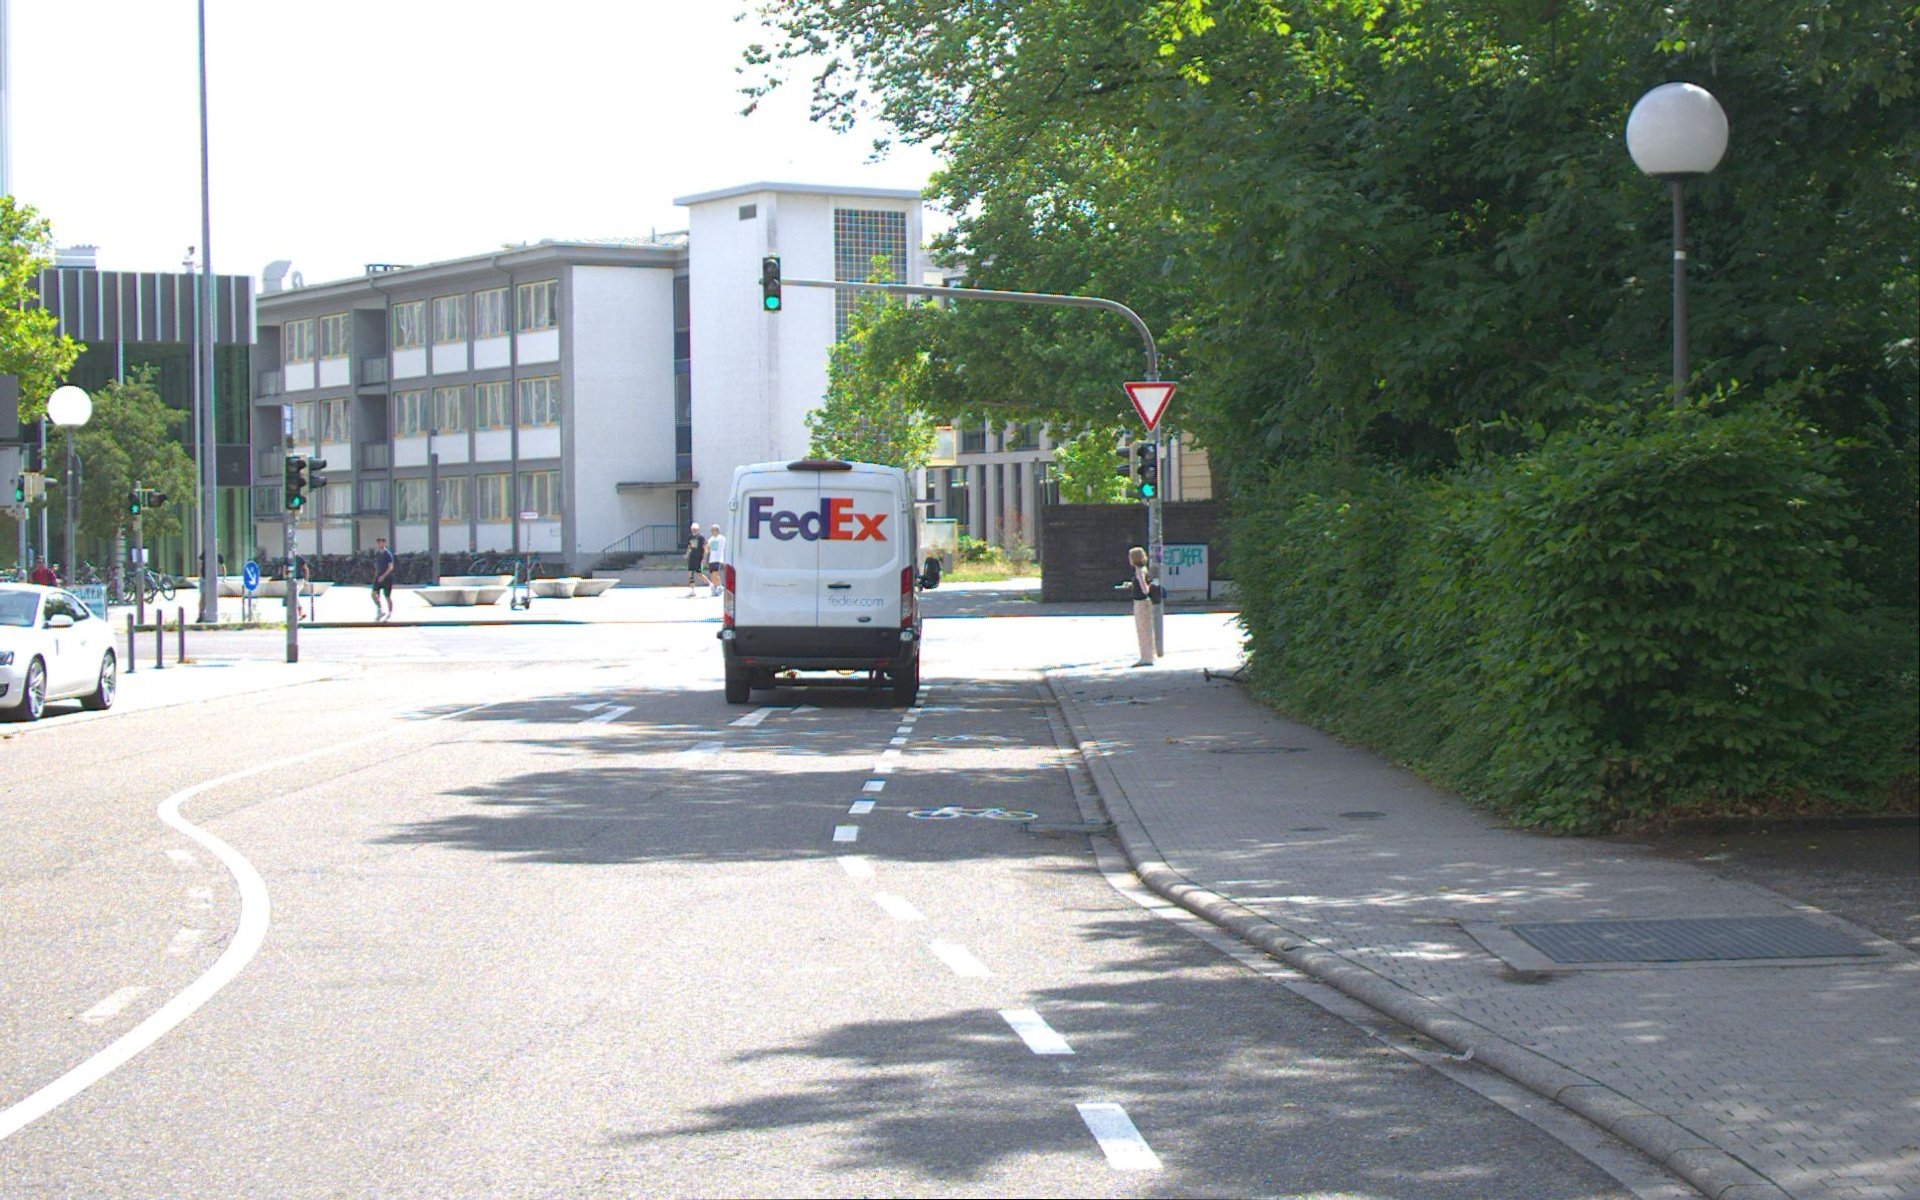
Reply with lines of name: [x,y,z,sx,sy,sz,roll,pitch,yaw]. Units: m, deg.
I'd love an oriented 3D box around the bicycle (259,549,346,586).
bicycle: [-24.317,-1.193,127.163,2.956,1.359,1.117,0,1,-37]

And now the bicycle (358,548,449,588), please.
bicycle: [-19.396,-1.107,119.786,2.956,1.359,1.117,0,1,-37]

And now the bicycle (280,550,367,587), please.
bicycle: [-23.191,-1.152,125.303,2.956,1.359,1.117,0,1,-37]

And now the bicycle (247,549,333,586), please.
bicycle: [-25.012,-1.209,128.353,2.956,1.359,1.117,0,1,-37]

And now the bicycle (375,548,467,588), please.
bicycle: [-18.612,-1.095,118.717,2.956,1.359,1.117,0,1,-37]

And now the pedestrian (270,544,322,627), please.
pedestrian: [-15.272,-0.334,79.101,0.703,1.849,1.398,-1,2,10]

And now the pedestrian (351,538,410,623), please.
pedestrian: [-12.981,-0.443,77.022,0.830,1.864,1.083,0,1,20]

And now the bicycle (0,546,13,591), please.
bicycle: [-27.232,-0.878,94.795,1.197,1.233,2.951,0,1,-37]

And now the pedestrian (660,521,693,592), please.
pedestrian: [-7.296,-1.120,88.526,0.668,1.809,0.816,-1,1,-19]

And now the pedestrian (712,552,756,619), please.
pedestrian: [-5.190,-0.334,78.943,0.824,1.518,0.815,-1,1,-19]

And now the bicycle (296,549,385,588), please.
bicycle: [-22.301,-1.132,123.806,2.956,1.359,1.117,0,1,-37]

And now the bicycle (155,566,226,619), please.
bicycle: [-16.863,-0.178,75.414,0.771,1.118,2.025,-1,1,10]

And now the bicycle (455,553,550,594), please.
bicycle: [-15.179,-0.886,114.124,2.956,1.359,1.117,0,1,-37]

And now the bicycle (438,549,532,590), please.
bicycle: [-15.913,-1.007,115.234,2.956,1.359,1.117,0,1,-37]

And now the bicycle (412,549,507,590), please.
bicycle: [-16.953,-1.026,116.514,2.956,1.359,1.275,0,1,-37]

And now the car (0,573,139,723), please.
car: [-10.042,0.449,35.967,1.676,1.390,4.662,2,1,1]

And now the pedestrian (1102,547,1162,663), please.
pedestrian: [2.362,0.064,47.242,0.731,1.570,0.776,1,1,-3]

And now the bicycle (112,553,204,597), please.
bicycle: [-22.852,-0.725,97.927,1.198,1.233,2.949,0,1,-45]

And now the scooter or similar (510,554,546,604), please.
scooter or similar: [-10.276,-0.506,81.730,0.716,1.174,2.726,0,1,-10]

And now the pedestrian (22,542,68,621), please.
pedestrian: [-19.695,-0.399,74.007,0.753,1.672,0.755,-1,1,2]

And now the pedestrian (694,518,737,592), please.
pedestrian: [-6.248,-1.144,87.801,0.865,1.883,0.913,-1,1,-19]

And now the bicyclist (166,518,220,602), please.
bicyclist: [-16.836,-0.882,75.490,0.790,1.811,0.999,-1,1,10]

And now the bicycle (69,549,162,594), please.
bicycle: [-23.847,-0.806,97.058,1.198,1.233,2.949,0,1,-45]

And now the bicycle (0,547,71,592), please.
bicycle: [-25.974,-0.848,95.374,1.198,1.233,2.949,0,1,-45]

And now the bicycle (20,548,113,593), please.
bicycle: [-25.030,-0.837,96.275,1.198,1.233,2.949,0,1,-45]

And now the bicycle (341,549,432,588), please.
bicycle: [-20.160,-1.094,120.852,2.956,1.359,1.117,0,1,-37]

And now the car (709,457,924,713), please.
car: [-1.479,-0.206,37.537,2.095,2.558,5.602,-1,1,0]
